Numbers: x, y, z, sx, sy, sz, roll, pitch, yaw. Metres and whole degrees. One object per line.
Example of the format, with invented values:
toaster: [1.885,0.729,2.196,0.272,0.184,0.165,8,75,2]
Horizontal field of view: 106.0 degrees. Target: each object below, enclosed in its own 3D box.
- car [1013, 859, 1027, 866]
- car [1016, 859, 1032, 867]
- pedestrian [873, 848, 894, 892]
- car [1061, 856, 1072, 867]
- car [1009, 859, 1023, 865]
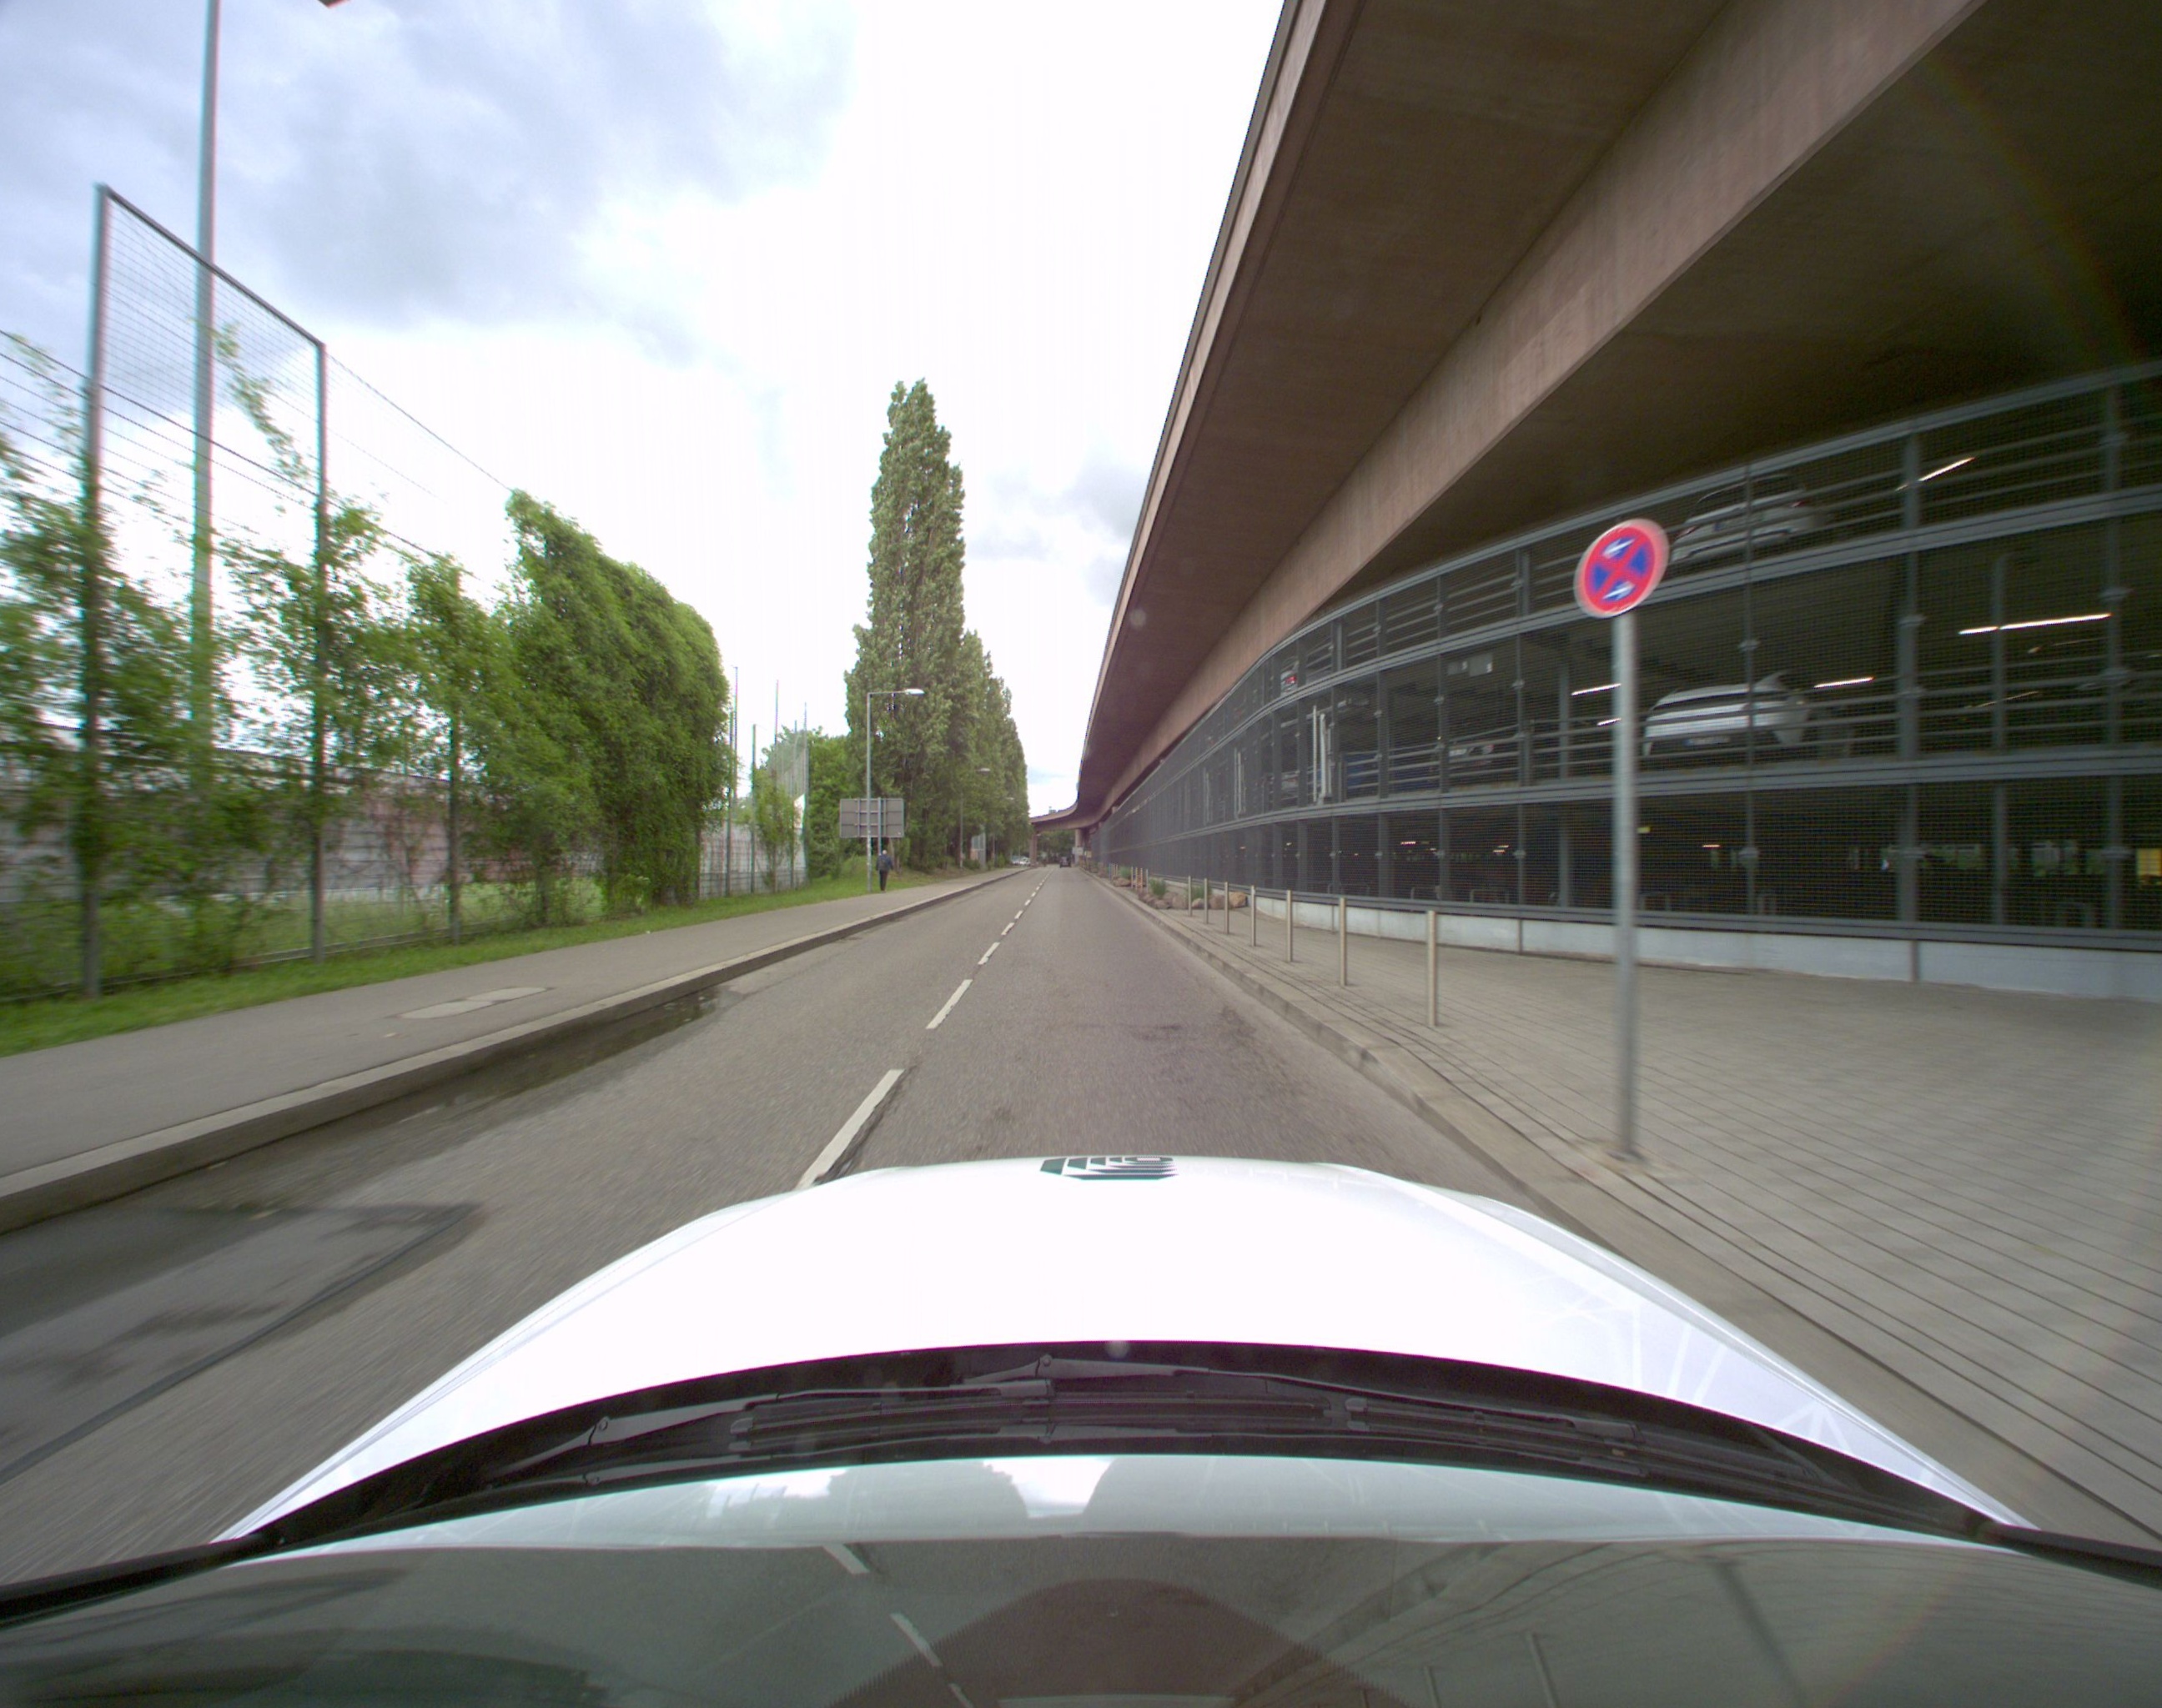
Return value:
car: [-16.184,2.272,216.196,1.703,1.716,3.696,0,1,40]
car: [-14.815,2.340,211.854,1.861,1.716,4.179,0,1,40]
pedestrian: [-8.185,0.641,33.697,0.804,1.780,0.916,-1,1,-13]
car: [-2.372,1.239,132.336,1.834,1.711,3.704,-1,1,-1]
car: [-17.551,2.157,219.788,1.703,1.716,3.696,0,1,40]
